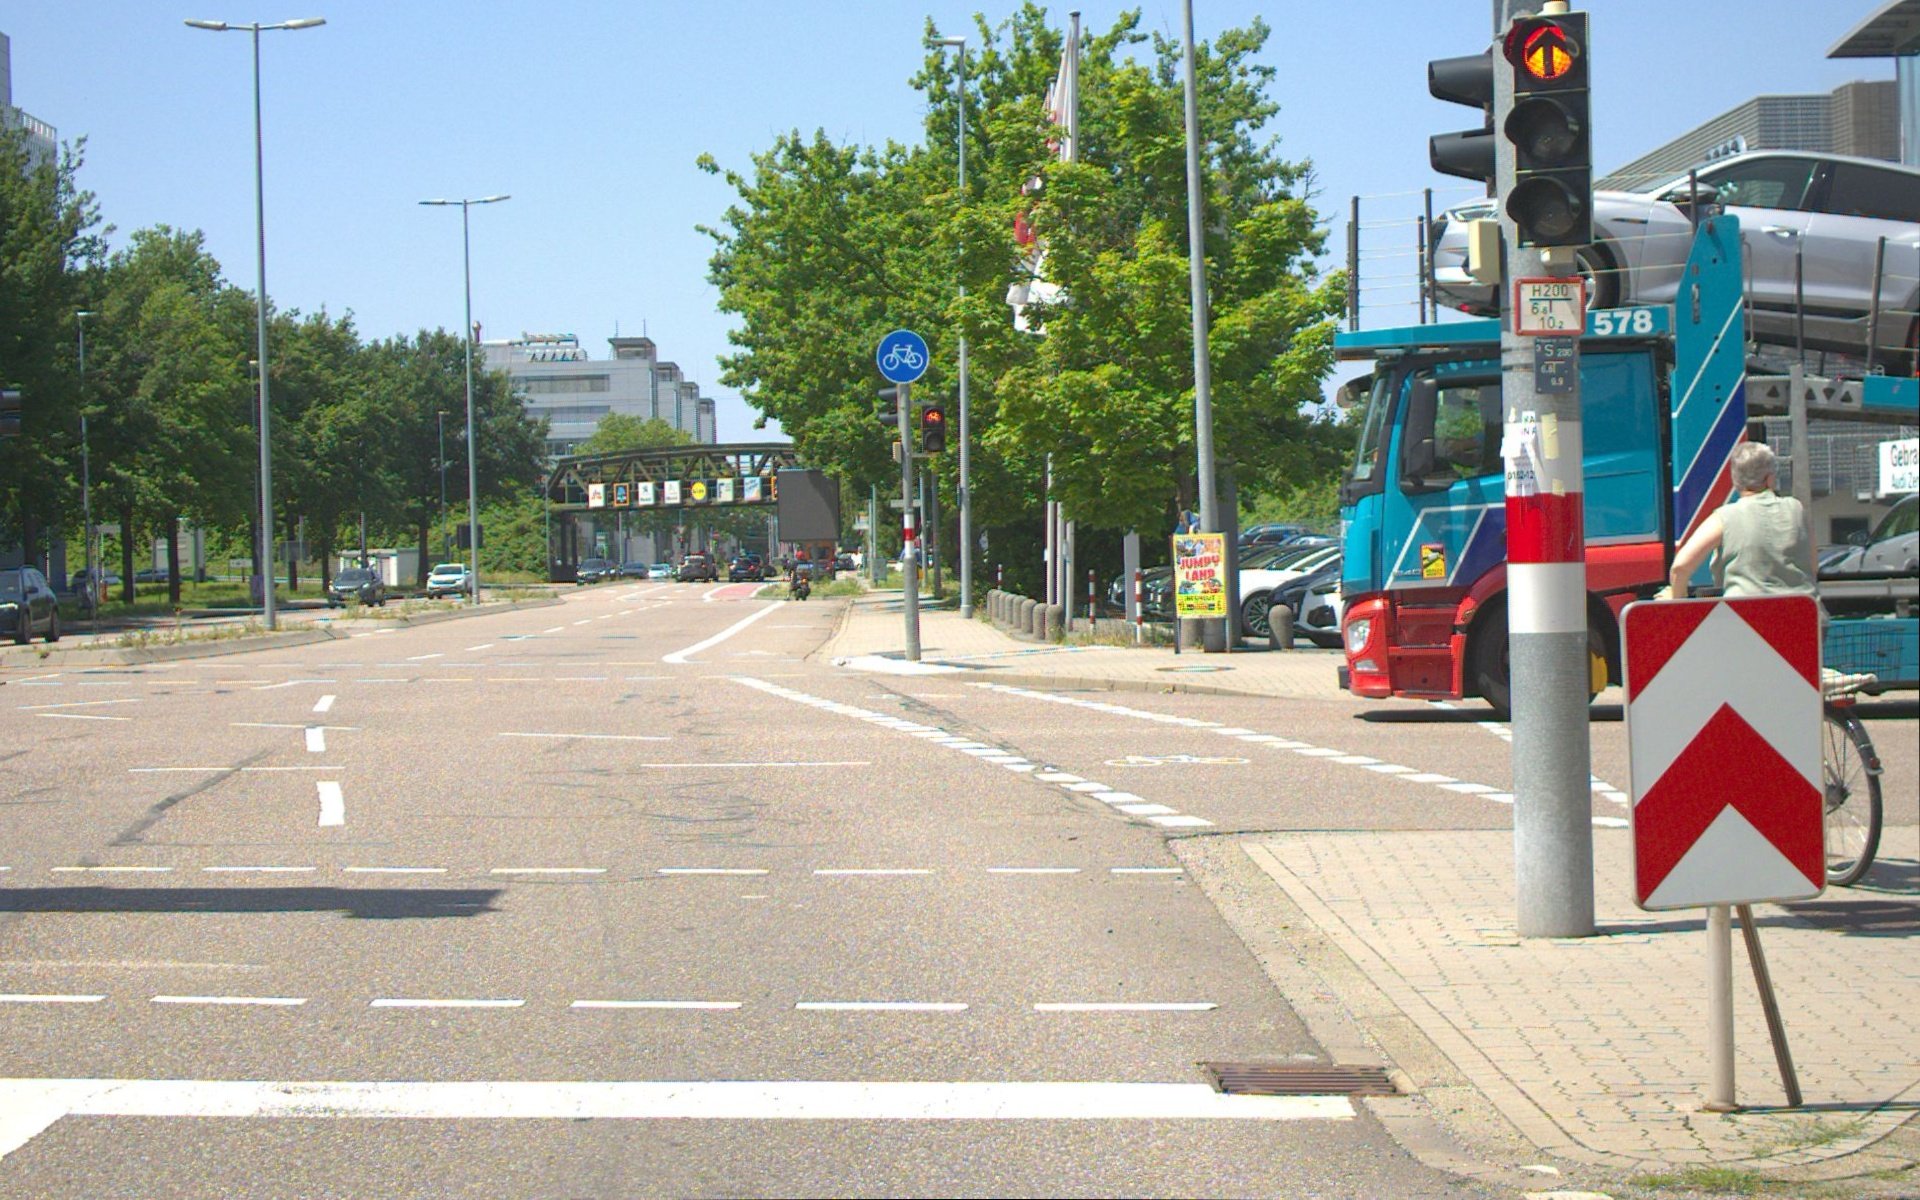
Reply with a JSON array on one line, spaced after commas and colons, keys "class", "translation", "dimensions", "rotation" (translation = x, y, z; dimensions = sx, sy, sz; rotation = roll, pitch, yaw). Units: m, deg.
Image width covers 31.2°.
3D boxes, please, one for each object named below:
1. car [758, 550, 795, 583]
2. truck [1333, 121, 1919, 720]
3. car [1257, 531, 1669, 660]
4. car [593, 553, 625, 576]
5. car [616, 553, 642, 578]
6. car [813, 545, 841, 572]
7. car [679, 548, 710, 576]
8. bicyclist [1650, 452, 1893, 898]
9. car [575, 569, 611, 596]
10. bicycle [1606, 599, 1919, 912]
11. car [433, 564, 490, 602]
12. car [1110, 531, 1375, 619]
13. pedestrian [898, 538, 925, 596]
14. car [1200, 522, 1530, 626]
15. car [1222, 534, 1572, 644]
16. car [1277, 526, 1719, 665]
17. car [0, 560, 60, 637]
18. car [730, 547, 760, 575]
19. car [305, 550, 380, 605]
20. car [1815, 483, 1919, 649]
[{"class": "car", "translation": [-5.934, -1.095, 111.418], "dimensions": [1.137, 1.038, 2.308], "rotation": [-1, 1, -2]}, {"class": "truck", "translation": [8.118, -1.311, 25.092], "dimensions": [10.619, 4.068, 3.100], "rotation": [-1, 1, 5]}, {"class": "car", "translation": [6.111, -0.058, 42.190], "dimensions": [4.741, 1.452, 2.000], "rotation": [-1, 0, 1]}, {"class": "car", "translation": [-21.652, -2.184, 212.293], "dimensions": [1.684, 1.406, 3.665], "rotation": [-2, 1, -2]}, {"class": "car", "translation": [-23.342, -2.433, 242.466], "dimensions": [1.648, 1.647, 4.164], "rotation": [-1, 1, -4]}, {"class": "car", "translation": [-8.716, -2.709, 225.351], "dimensions": [1.772, 1.722, 4.000], "rotation": [-2, 1, -2]}, {"class": "car", "translation": [-17.274, -2.484, 223.627], "dimensions": [1.772, 1.722, 4.000], "rotation": [-2, 1, -2]}, {"class": "bicyclist", "translation": [3.252, 0.282, 13.834], "dimensions": [0.733, 1.743, 0.754], "rotation": [0, 1, -6]}, {"class": "car", "translation": [-20.923, -0.998, 196.085], "dimensions": [1.732, 1.422, 3.706], "rotation": [-3, 1, -2]}, {"class": "bicycle", "translation": [3.271, 0.587, 13.943], "dimensions": [0.786, 1.123, 1.921], "rotation": [0, 2, -5]}, {"class": "car", "translation": [-22.949, -0.798, 158.332], "dimensions": [1.926, 1.659, 4.089], "rotation": [-2, 1, 1]}, {"class": "car", "translation": [5.320, -0.486, 65.234], "dimensions": [4.741, 1.452, 2.000], "rotation": [-2, 2, -3]}, {"class": "pedestrian", "translation": [-1.274, -0.874, 90.832], "dimensions": [0.668, 1.505, 0.736], "rotation": [-1, 1, -2]}, {"class": "car", "translation": [6.170, -0.420, 52.777], "dimensions": [4.741, 1.452, 2.000], "rotation": [-1, 2, -3]}, {"class": "car", "translation": [6.311, -0.177, 49.957], "dimensions": [4.741, 1.452, 2.000], "rotation": [-1, 2, -3]}, {"class": "car", "translation": [6.099, -0.071, 39.404], "dimensions": [4.741, 1.452, 2.000], "rotation": [-1, 2, 1]}, {"class": "car", "translation": [-20.699, -0.032, 73.354], "dimensions": [1.875, 1.593, 4.497], "rotation": [-2, 1, -2]}, {"class": "car", "translation": [-14.148, -2.568, 226.287], "dimensions": [1.772, 1.722, 4.000], "rotation": [-2, 1, -2]}, {"class": "car", "translation": [-23.709, -0.850, 132.143], "dimensions": [1.993, 2.007, 3.999], "rotation": [-1, -1, 2]}, {"class": "car", "translation": [10.380, -0.396, 35.330], "dimensions": [1.993, 1.634, 4.269], "rotation": [-1, 2, -2]}]
